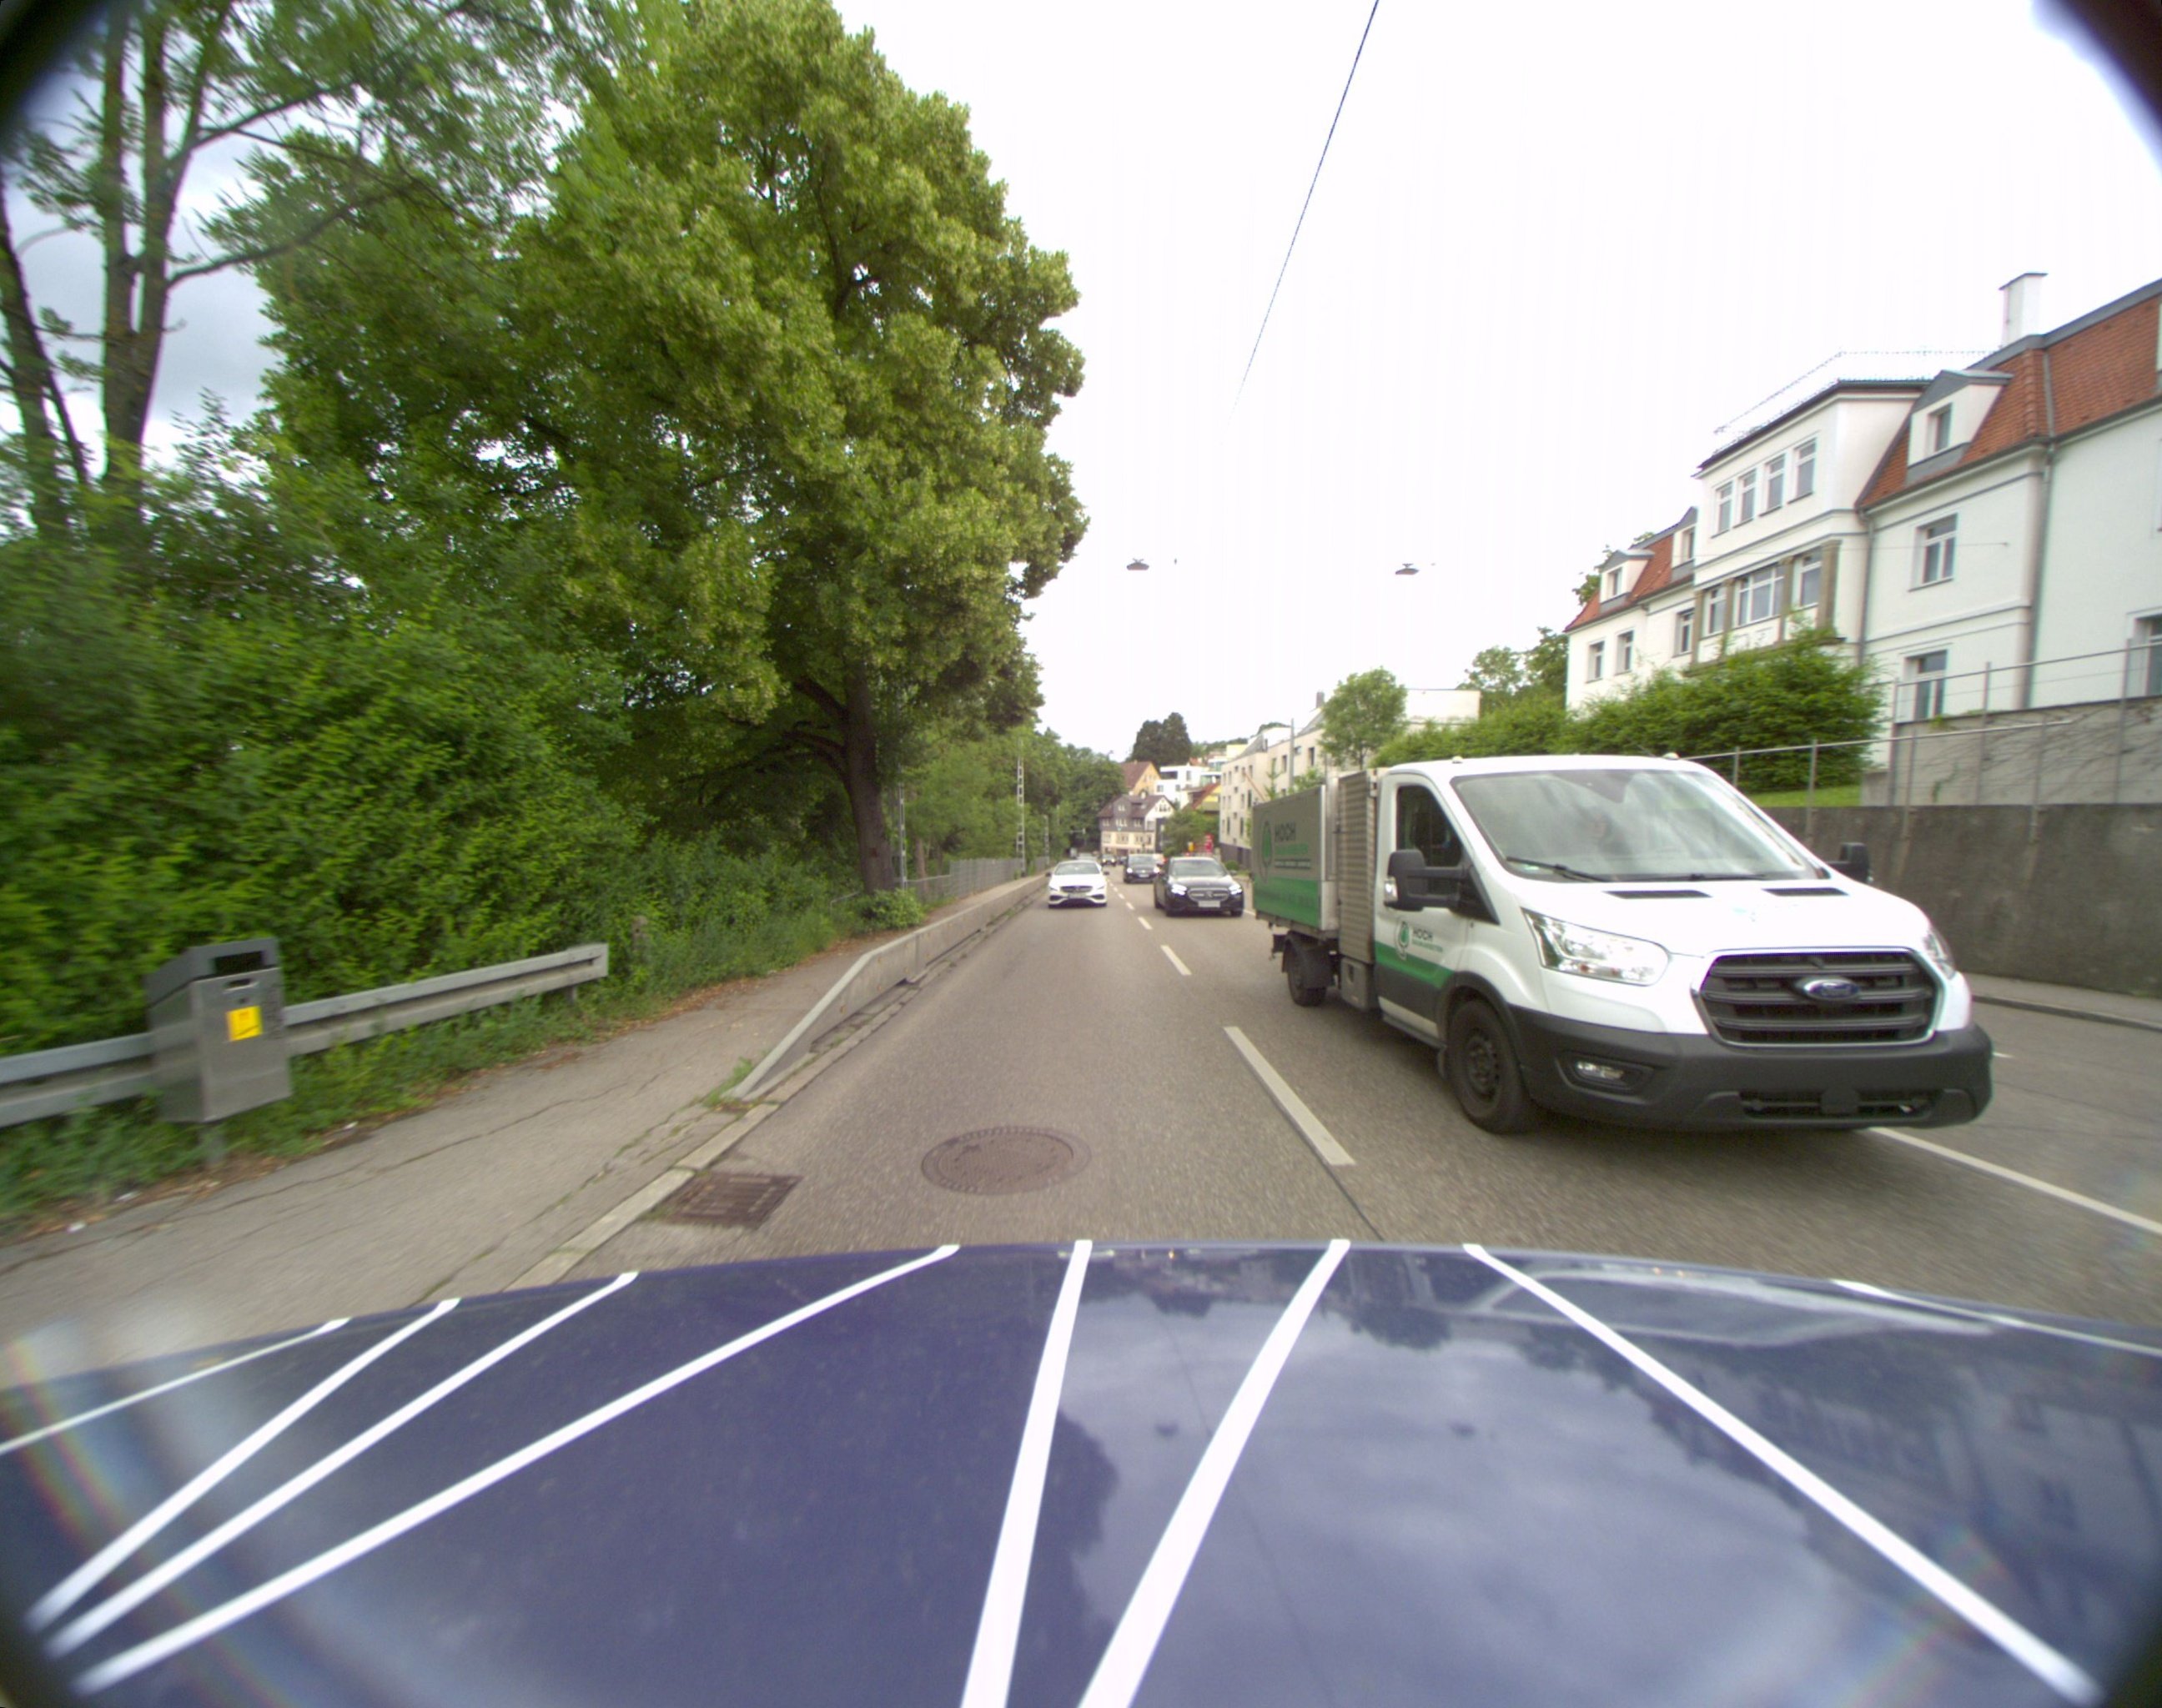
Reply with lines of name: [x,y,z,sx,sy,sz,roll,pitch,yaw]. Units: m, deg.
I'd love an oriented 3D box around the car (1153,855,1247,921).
car: [3.003,0.812,20.102,1.878,1.521,4.335,0,1,1]

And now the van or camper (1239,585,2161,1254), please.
van or camper: [3.168,0.260,6.046,2.349,2.646,5.964,-1,0,-2]

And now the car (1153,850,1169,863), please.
car: [10.456,0.273,99.936,1.709,1.702,3.868,0,0,1]

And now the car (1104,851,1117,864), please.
car: [3.917,0.431,100.979,1.709,1.702,3.868,0,0,1]

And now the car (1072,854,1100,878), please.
car: [0.374,0.767,51.785,1.878,1.521,4.000,0,1,1]

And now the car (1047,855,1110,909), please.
car: [-0.044,0.825,24.128,1.809,1.521,4.000,-1,1,1]

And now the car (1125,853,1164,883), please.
car: [3.487,0.743,42.254,1.878,1.521,4.000,0,1,1]
